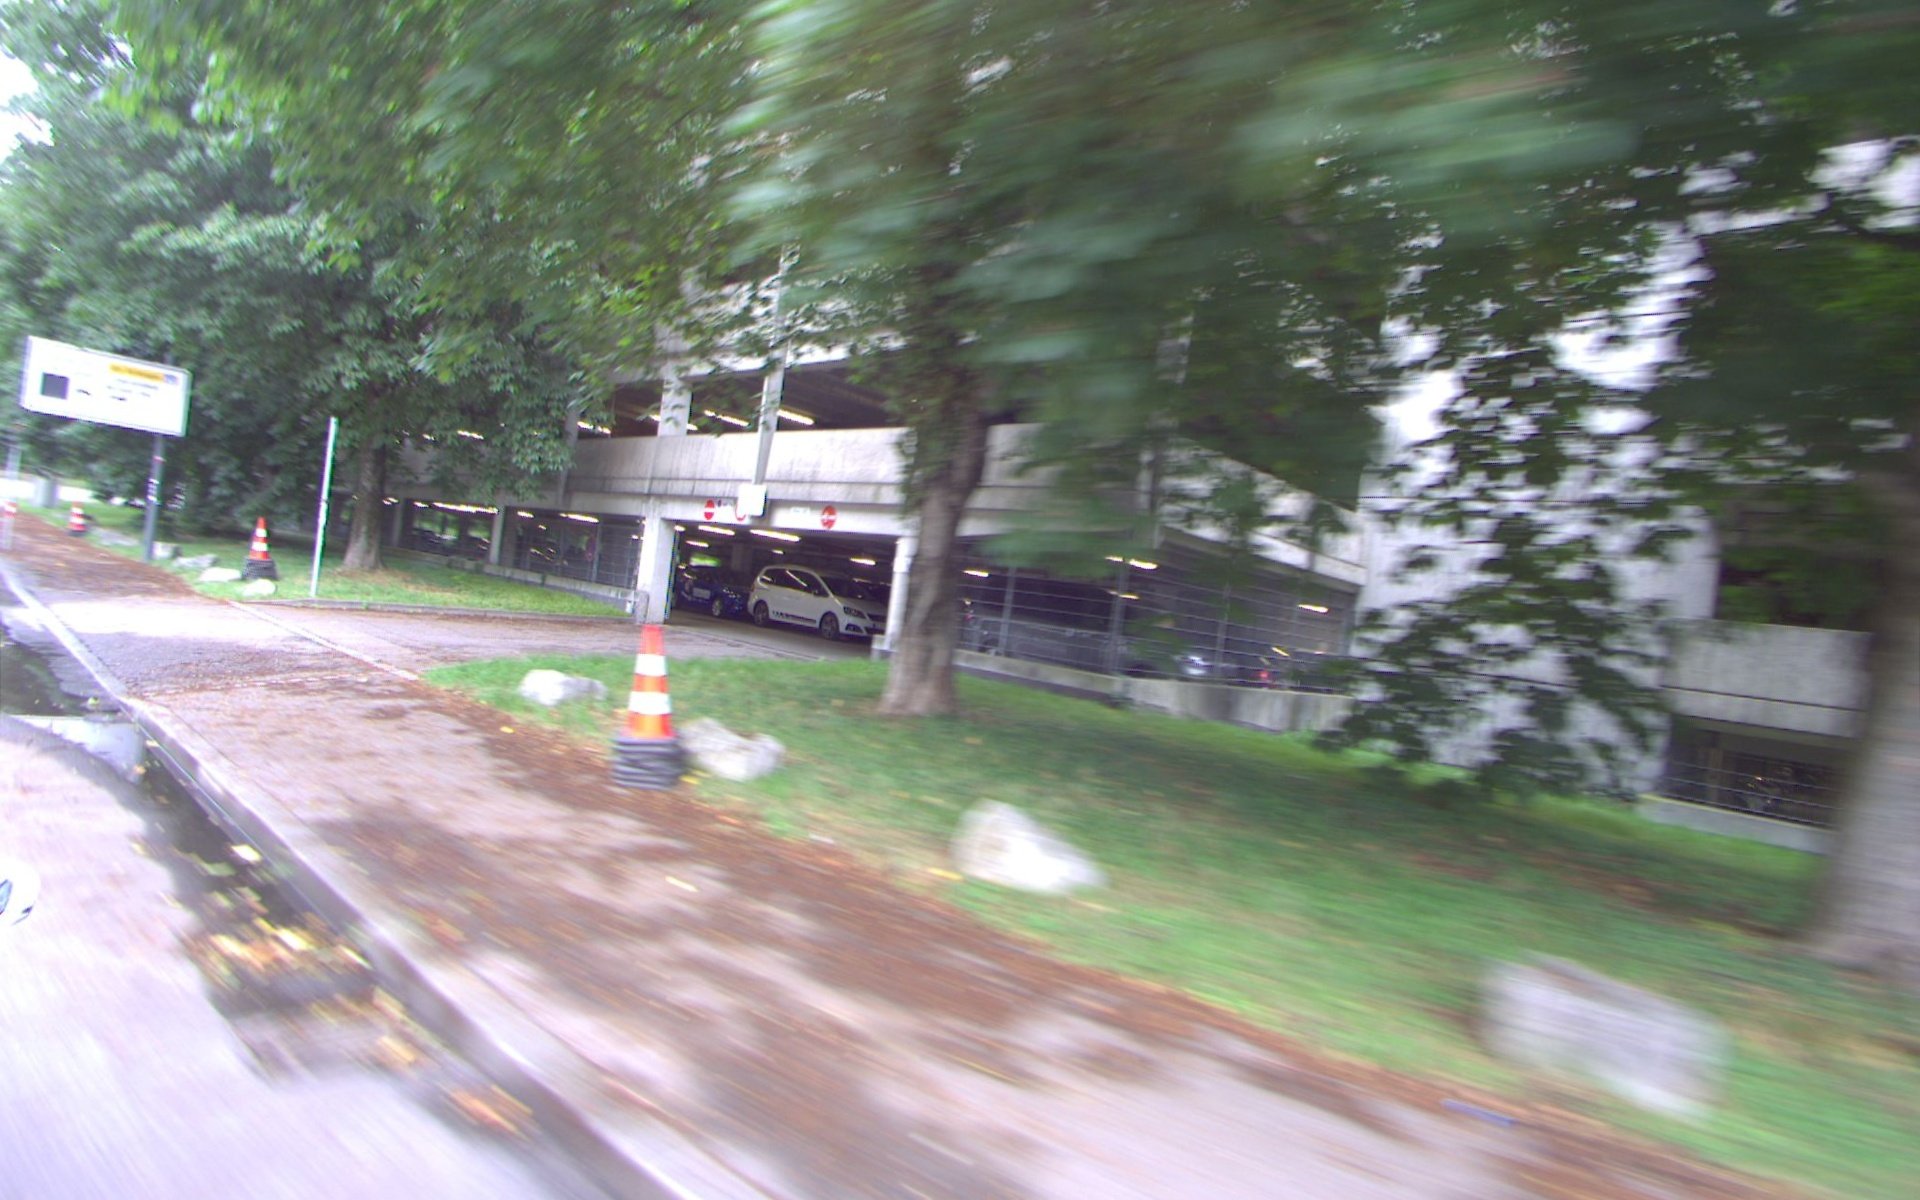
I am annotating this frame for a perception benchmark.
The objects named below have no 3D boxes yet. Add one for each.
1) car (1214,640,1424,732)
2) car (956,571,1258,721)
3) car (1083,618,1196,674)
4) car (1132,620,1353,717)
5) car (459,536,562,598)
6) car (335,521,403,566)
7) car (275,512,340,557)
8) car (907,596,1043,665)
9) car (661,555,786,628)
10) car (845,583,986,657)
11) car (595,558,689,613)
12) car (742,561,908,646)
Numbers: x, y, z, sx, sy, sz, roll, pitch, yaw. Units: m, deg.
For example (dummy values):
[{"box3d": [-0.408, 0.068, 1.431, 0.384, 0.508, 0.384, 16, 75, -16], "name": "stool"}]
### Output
[{"box3d": [8.024, 1.910, 22.738, 1.867, 1.470, 3.951, 9, -2, -44], "name": "car"}, {"box3d": [2.380, 0.720, 17.176, 4.671, 1.856, 1.917, 7, -1, 43], "name": "car"}, {"box3d": [6.676, 1.700, 37.535, 3.651, 1.563, 1.715, 6, -2, 42], "name": "car"}, {"box3d": [5.853, 1.408, 21.131, 1.867, 1.470, 3.951, 9, -2, -44], "name": "car"}, {"box3d": [-18.206, -1.370, 40.669, 4.612, 2.037, 1.991, 6, -2, 43], "name": "car"}, {"box3d": [-27.462, -2.629, 46.685, 3.719, 1.728, 1.578, 6, -2, 43], "name": "car"}, {"box3d": [-29.275, -2.951, 45.113, 3.670, 1.728, 1.478, 6, -2, 43], "name": "car"}, {"box3d": [0.403, 0.886, 29.854, 3.651, 1.563, 1.715, 6, -2, 42], "name": "car"}, {"box3d": [-7.003, -0.270, 29.556, 3.806, 1.728, 1.583, 6, -2, 43], "name": "car"}, {"box3d": [-1.281, 0.527, 28.142, 3.641, 1.604, 1.715, 6, -2, 42], "name": "car"}, {"box3d": [-12.428, -0.580, 39.222, 3.651, 1.700, 1.715, 6, -2, 42], "name": "car"}, {"box3d": [-3.599, 0.049, 26.211, 4.606, 1.728, 1.583, 6, -2, 43], "name": "car"}]
